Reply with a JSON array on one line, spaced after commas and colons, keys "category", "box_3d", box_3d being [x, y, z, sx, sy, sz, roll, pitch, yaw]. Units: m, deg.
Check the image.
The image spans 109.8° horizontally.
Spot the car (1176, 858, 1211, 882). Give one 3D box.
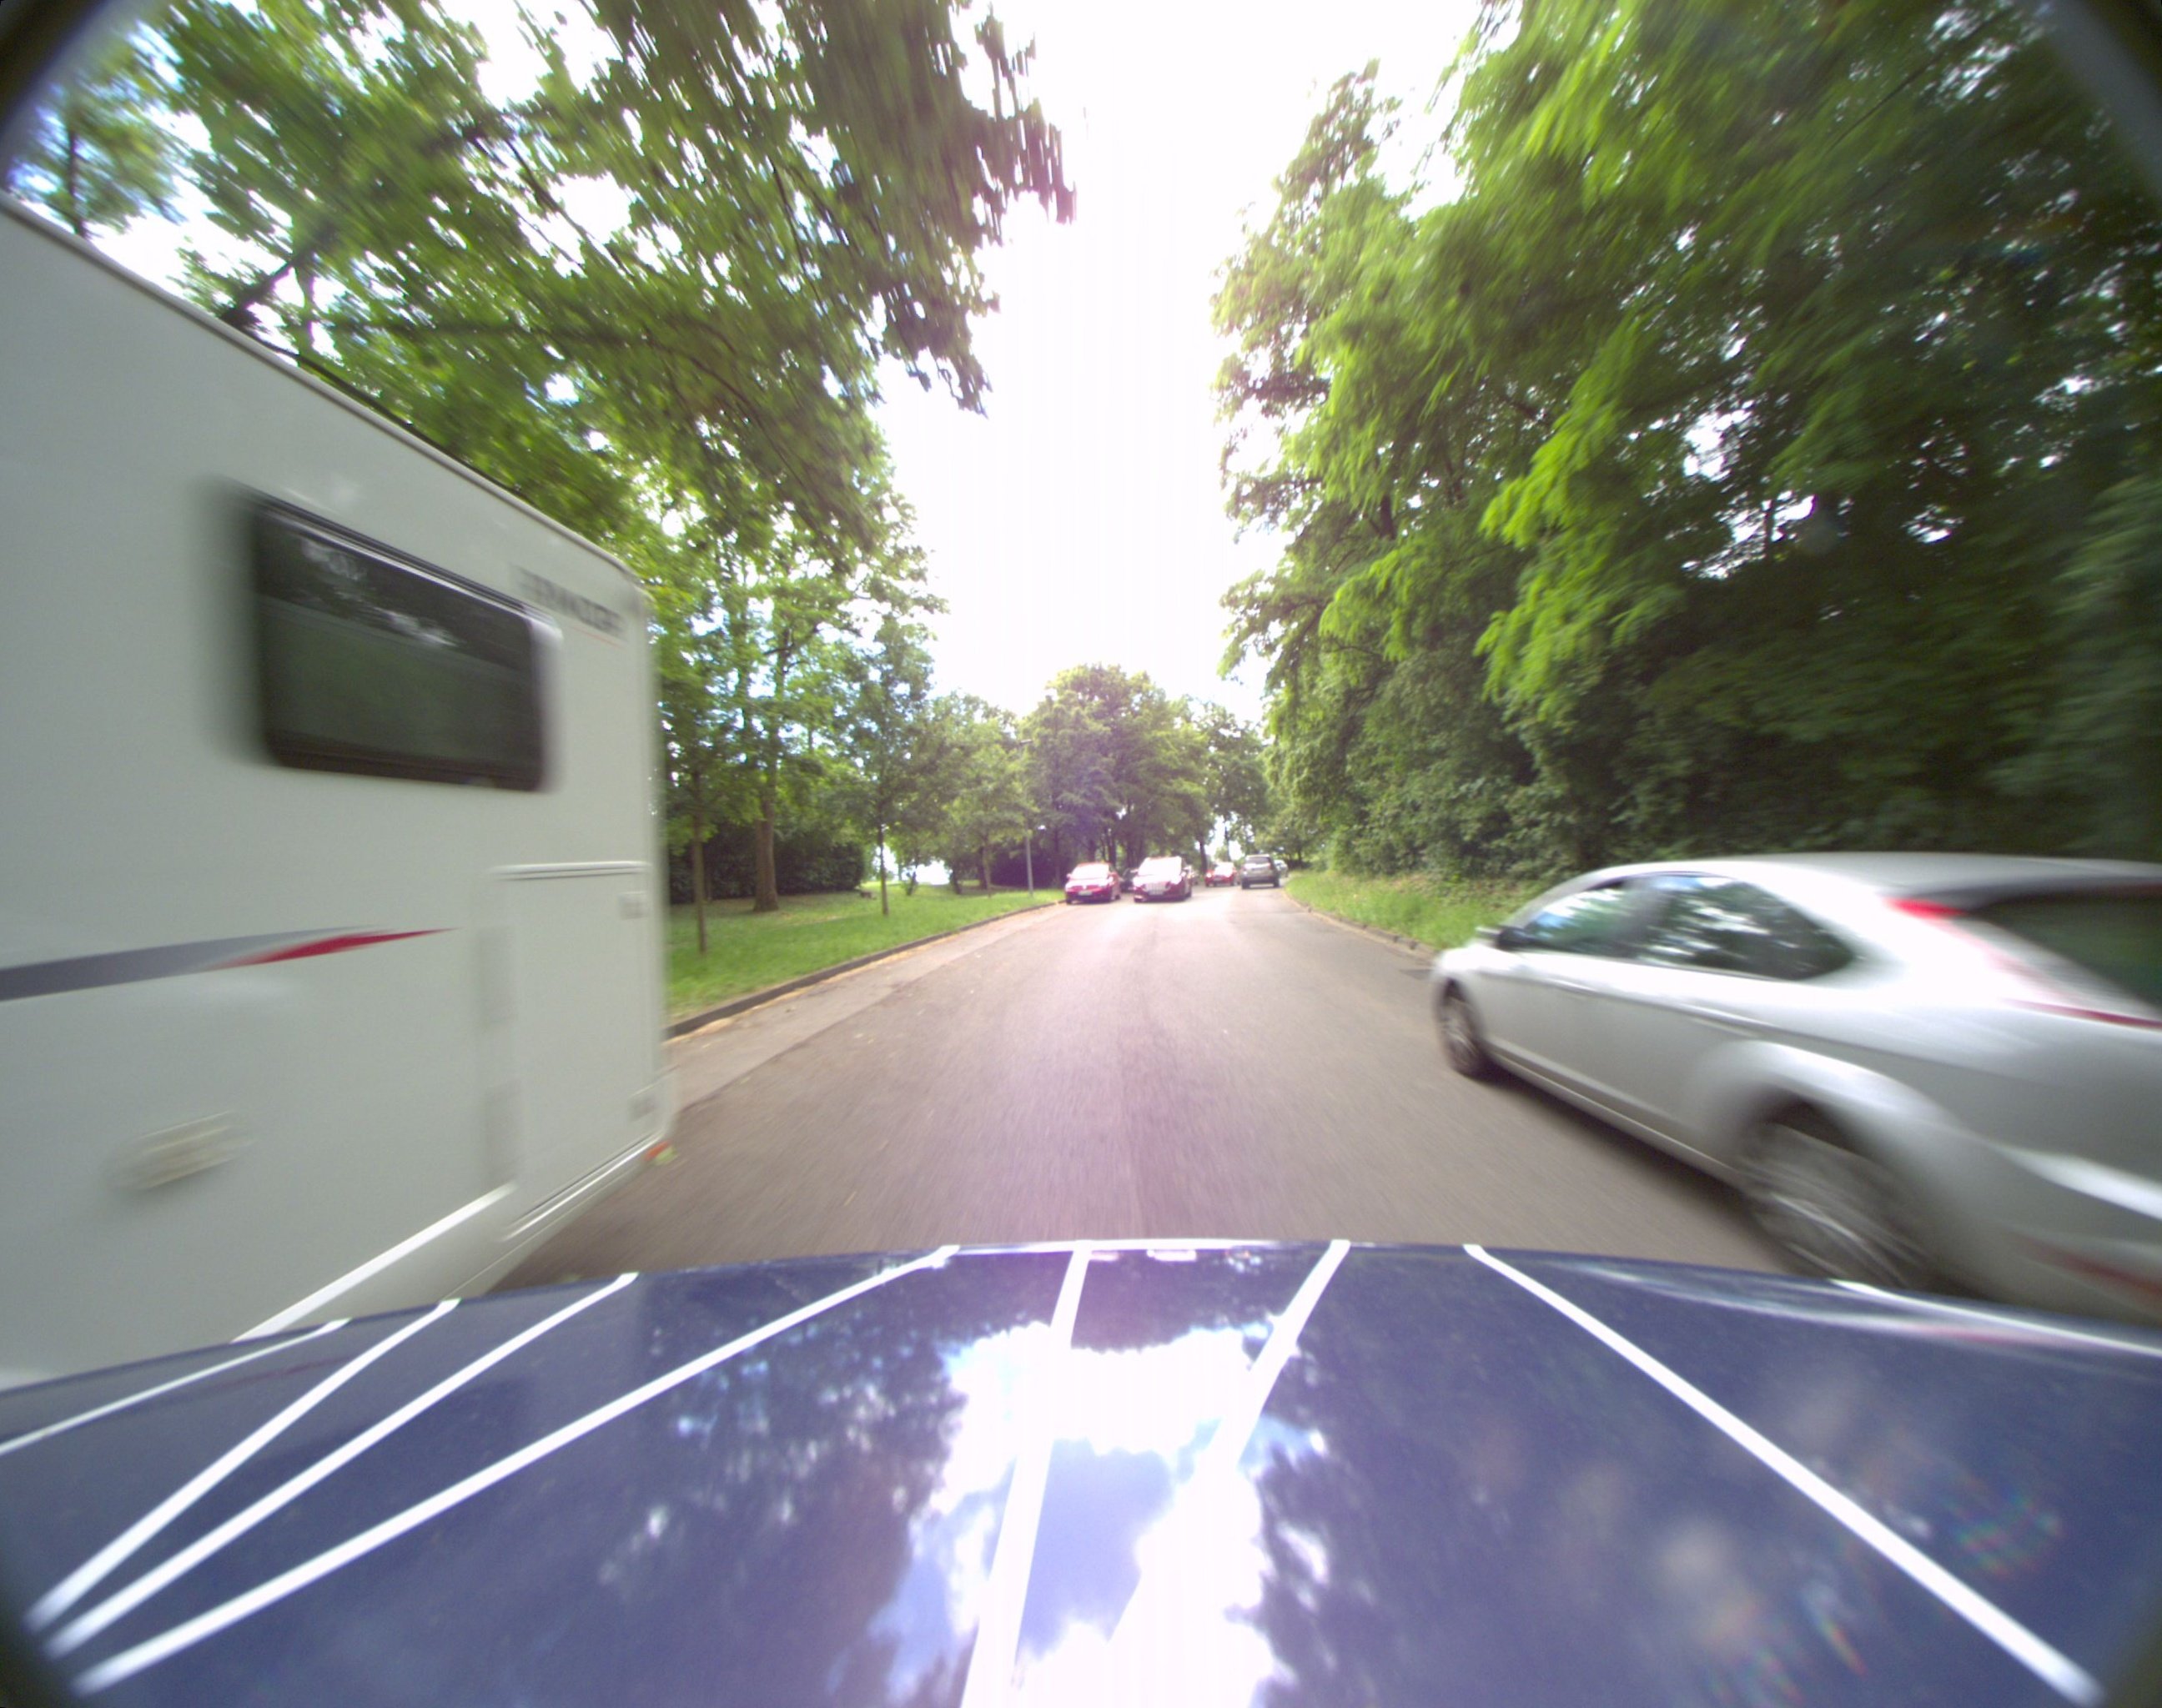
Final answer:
[{"category": "car", "box_3d": [7.824, 1.094, 52.609, 1.713, 1.413, 4.682, -3, 0, 16]}]

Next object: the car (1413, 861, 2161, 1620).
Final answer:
[{"category": "car", "box_3d": [3.220, 0.826, 3.445, 1.798, 1.499, 4.001, -1, 0, 2]}]

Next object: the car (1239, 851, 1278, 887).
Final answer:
[{"category": "car", "box_3d": [9.254, 0.741, 39.895, 1.823, 1.717, 4.316, -3, 0, 12]}]

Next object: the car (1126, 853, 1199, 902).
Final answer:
[{"category": "car", "box_3d": [3.232, 0.835, 29.247, 2.001, 1.599, 4.682, -3, 0, 15]}]

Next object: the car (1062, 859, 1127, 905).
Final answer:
[{"category": "car", "box_3d": [0.639, 1.069, 30.406, 1.713, 1.543, 4.681, -3, 0, 11]}]

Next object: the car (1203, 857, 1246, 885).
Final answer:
[{"category": "car", "box_3d": [8.908, 1.036, 46.891, 1.955, 1.464, 4.683, -3, 0, 18]}]

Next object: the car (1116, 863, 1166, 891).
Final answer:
[{"category": "car", "box_3d": [3.303, 1.222, 41.027, 1.713, 1.248, 4.682, -3, 0, 16]}]

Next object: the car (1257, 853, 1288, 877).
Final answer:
[{"category": "car", "box_3d": [16.973, 0.954, 67.227, 1.955, 1.828, 4.683, -3, 0, 21]}]
